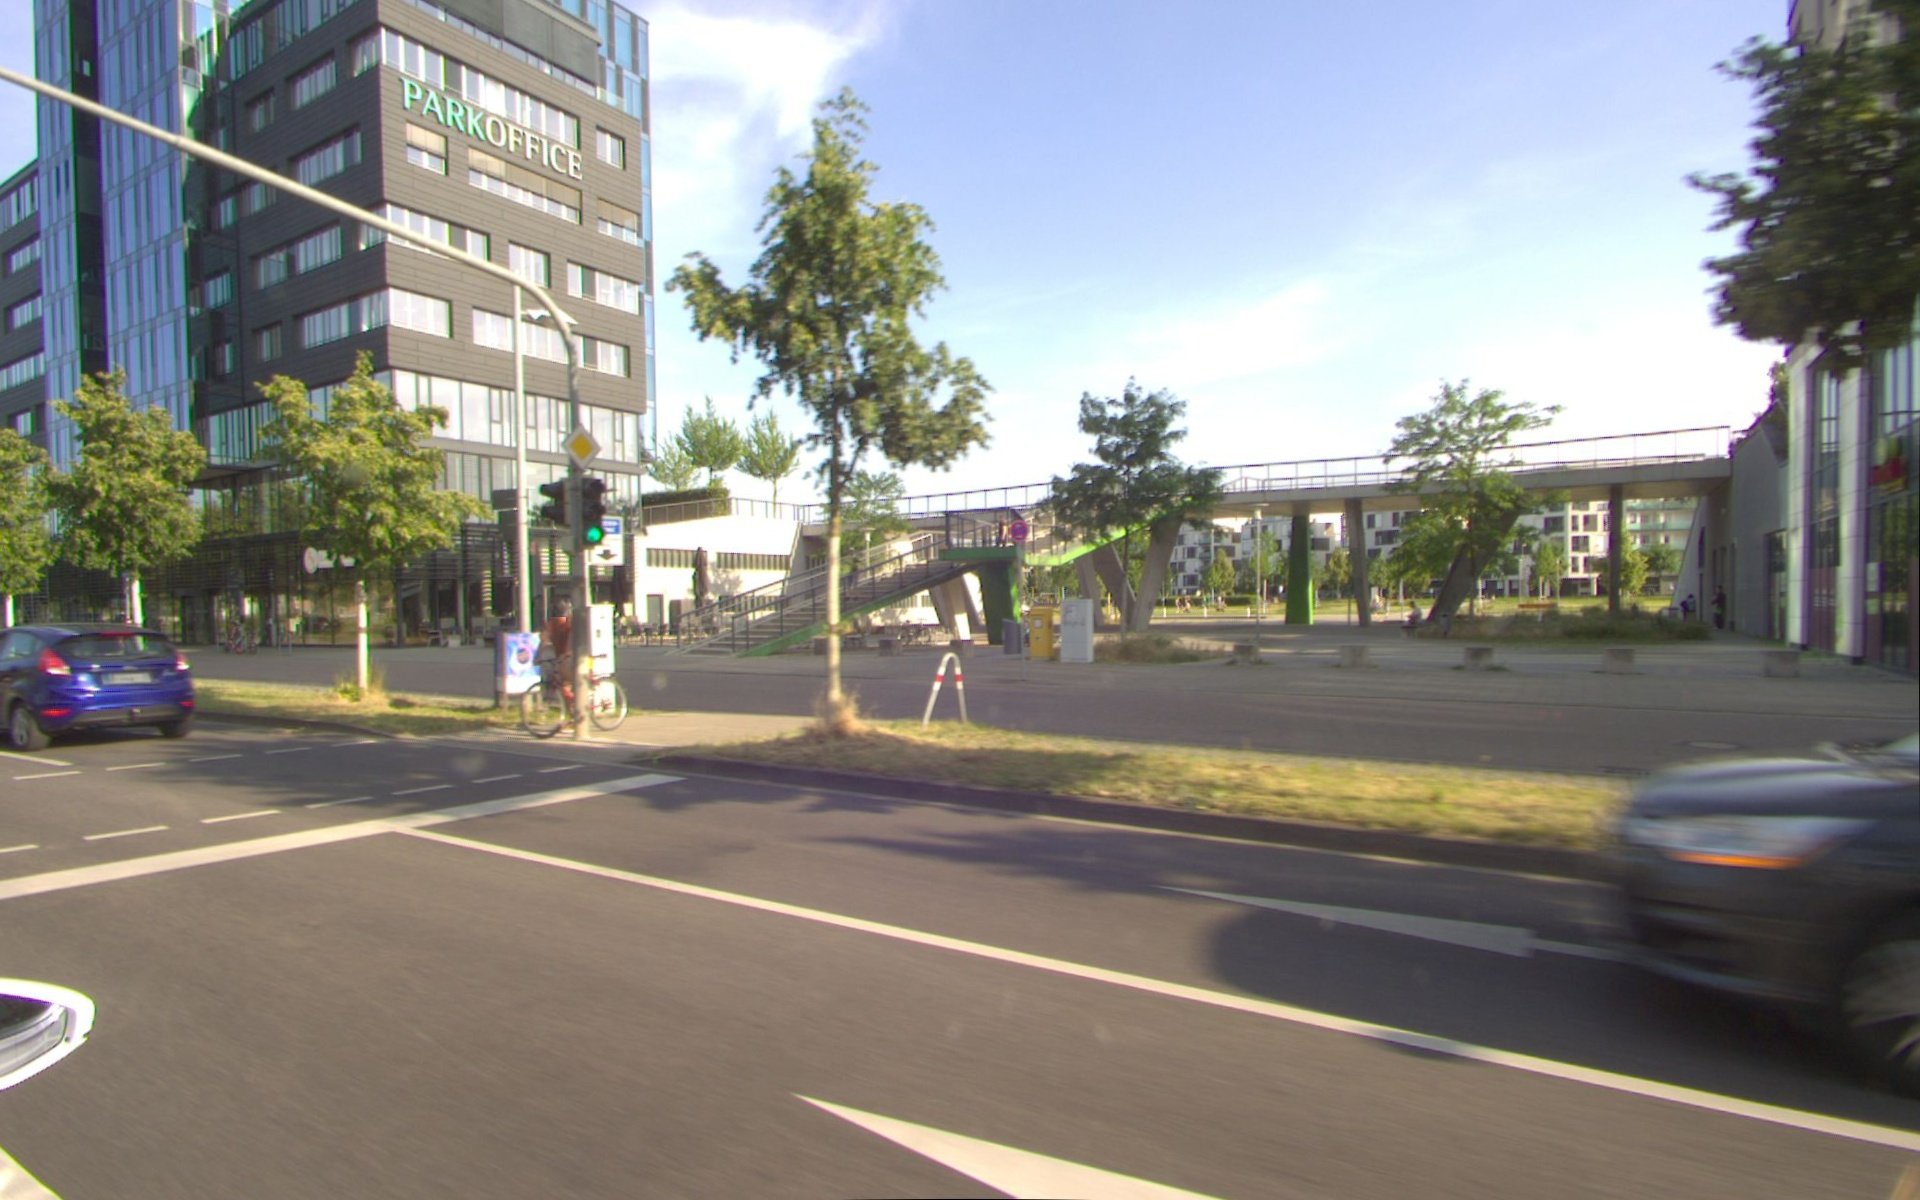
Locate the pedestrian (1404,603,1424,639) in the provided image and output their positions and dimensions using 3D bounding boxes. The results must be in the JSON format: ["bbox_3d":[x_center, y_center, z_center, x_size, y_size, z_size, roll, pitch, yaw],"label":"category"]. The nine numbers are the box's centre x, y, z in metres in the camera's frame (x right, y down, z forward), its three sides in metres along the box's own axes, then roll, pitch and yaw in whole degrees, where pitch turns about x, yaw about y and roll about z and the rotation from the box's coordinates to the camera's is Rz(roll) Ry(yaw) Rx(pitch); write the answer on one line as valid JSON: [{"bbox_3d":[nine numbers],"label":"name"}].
[{"bbox_3d":[16.630,0.762,36.660,0.573,1.311,0.595,-1,-1,32],"label":"pedestrian"}]

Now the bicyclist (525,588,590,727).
[{"bbox_3d":[-5.168,0.732,12.866,0.533,1.729,0.574,-1,-1,30],"label":"bicyclist"}]

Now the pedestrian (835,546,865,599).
[{"bbox_3d":[-3.692,-0.903,33.539,0.689,1.713,0.779,1,-1,-44],"label":"pedestrian"}]

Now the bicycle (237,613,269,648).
[{"bbox_3d":[-27.683,1.199,39.178,1.868,1.363,0.372,-1,-1,33],"label":"bicycle"}]

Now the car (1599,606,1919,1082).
[{"bbox_3d":[4.427,0.740,3.143,3.979,1.442,1.692,-1,-2,30],"label":"car"}]

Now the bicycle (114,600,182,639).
[{"bbox_3d":[-37.869,0.914,46.741,0.548,1.768,2.423,-1,-2,42],"label":"bicycle"}]

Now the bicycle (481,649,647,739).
[{"bbox_3d":[-5.086,1.175,13.031,0.563,1.025,2.132,-1,-2,30],"label":"bicycle"}]

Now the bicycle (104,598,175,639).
[{"bbox_3d":[-38.764,0.904,47.358,0.563,1.881,2.552,-1,-2,42],"label":"bicycle"}]

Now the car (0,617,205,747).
[{"bbox_3d":[-11.515,0.948,12.770,3.847,1.442,1.559,0,-1,28],"label":"car"}]
